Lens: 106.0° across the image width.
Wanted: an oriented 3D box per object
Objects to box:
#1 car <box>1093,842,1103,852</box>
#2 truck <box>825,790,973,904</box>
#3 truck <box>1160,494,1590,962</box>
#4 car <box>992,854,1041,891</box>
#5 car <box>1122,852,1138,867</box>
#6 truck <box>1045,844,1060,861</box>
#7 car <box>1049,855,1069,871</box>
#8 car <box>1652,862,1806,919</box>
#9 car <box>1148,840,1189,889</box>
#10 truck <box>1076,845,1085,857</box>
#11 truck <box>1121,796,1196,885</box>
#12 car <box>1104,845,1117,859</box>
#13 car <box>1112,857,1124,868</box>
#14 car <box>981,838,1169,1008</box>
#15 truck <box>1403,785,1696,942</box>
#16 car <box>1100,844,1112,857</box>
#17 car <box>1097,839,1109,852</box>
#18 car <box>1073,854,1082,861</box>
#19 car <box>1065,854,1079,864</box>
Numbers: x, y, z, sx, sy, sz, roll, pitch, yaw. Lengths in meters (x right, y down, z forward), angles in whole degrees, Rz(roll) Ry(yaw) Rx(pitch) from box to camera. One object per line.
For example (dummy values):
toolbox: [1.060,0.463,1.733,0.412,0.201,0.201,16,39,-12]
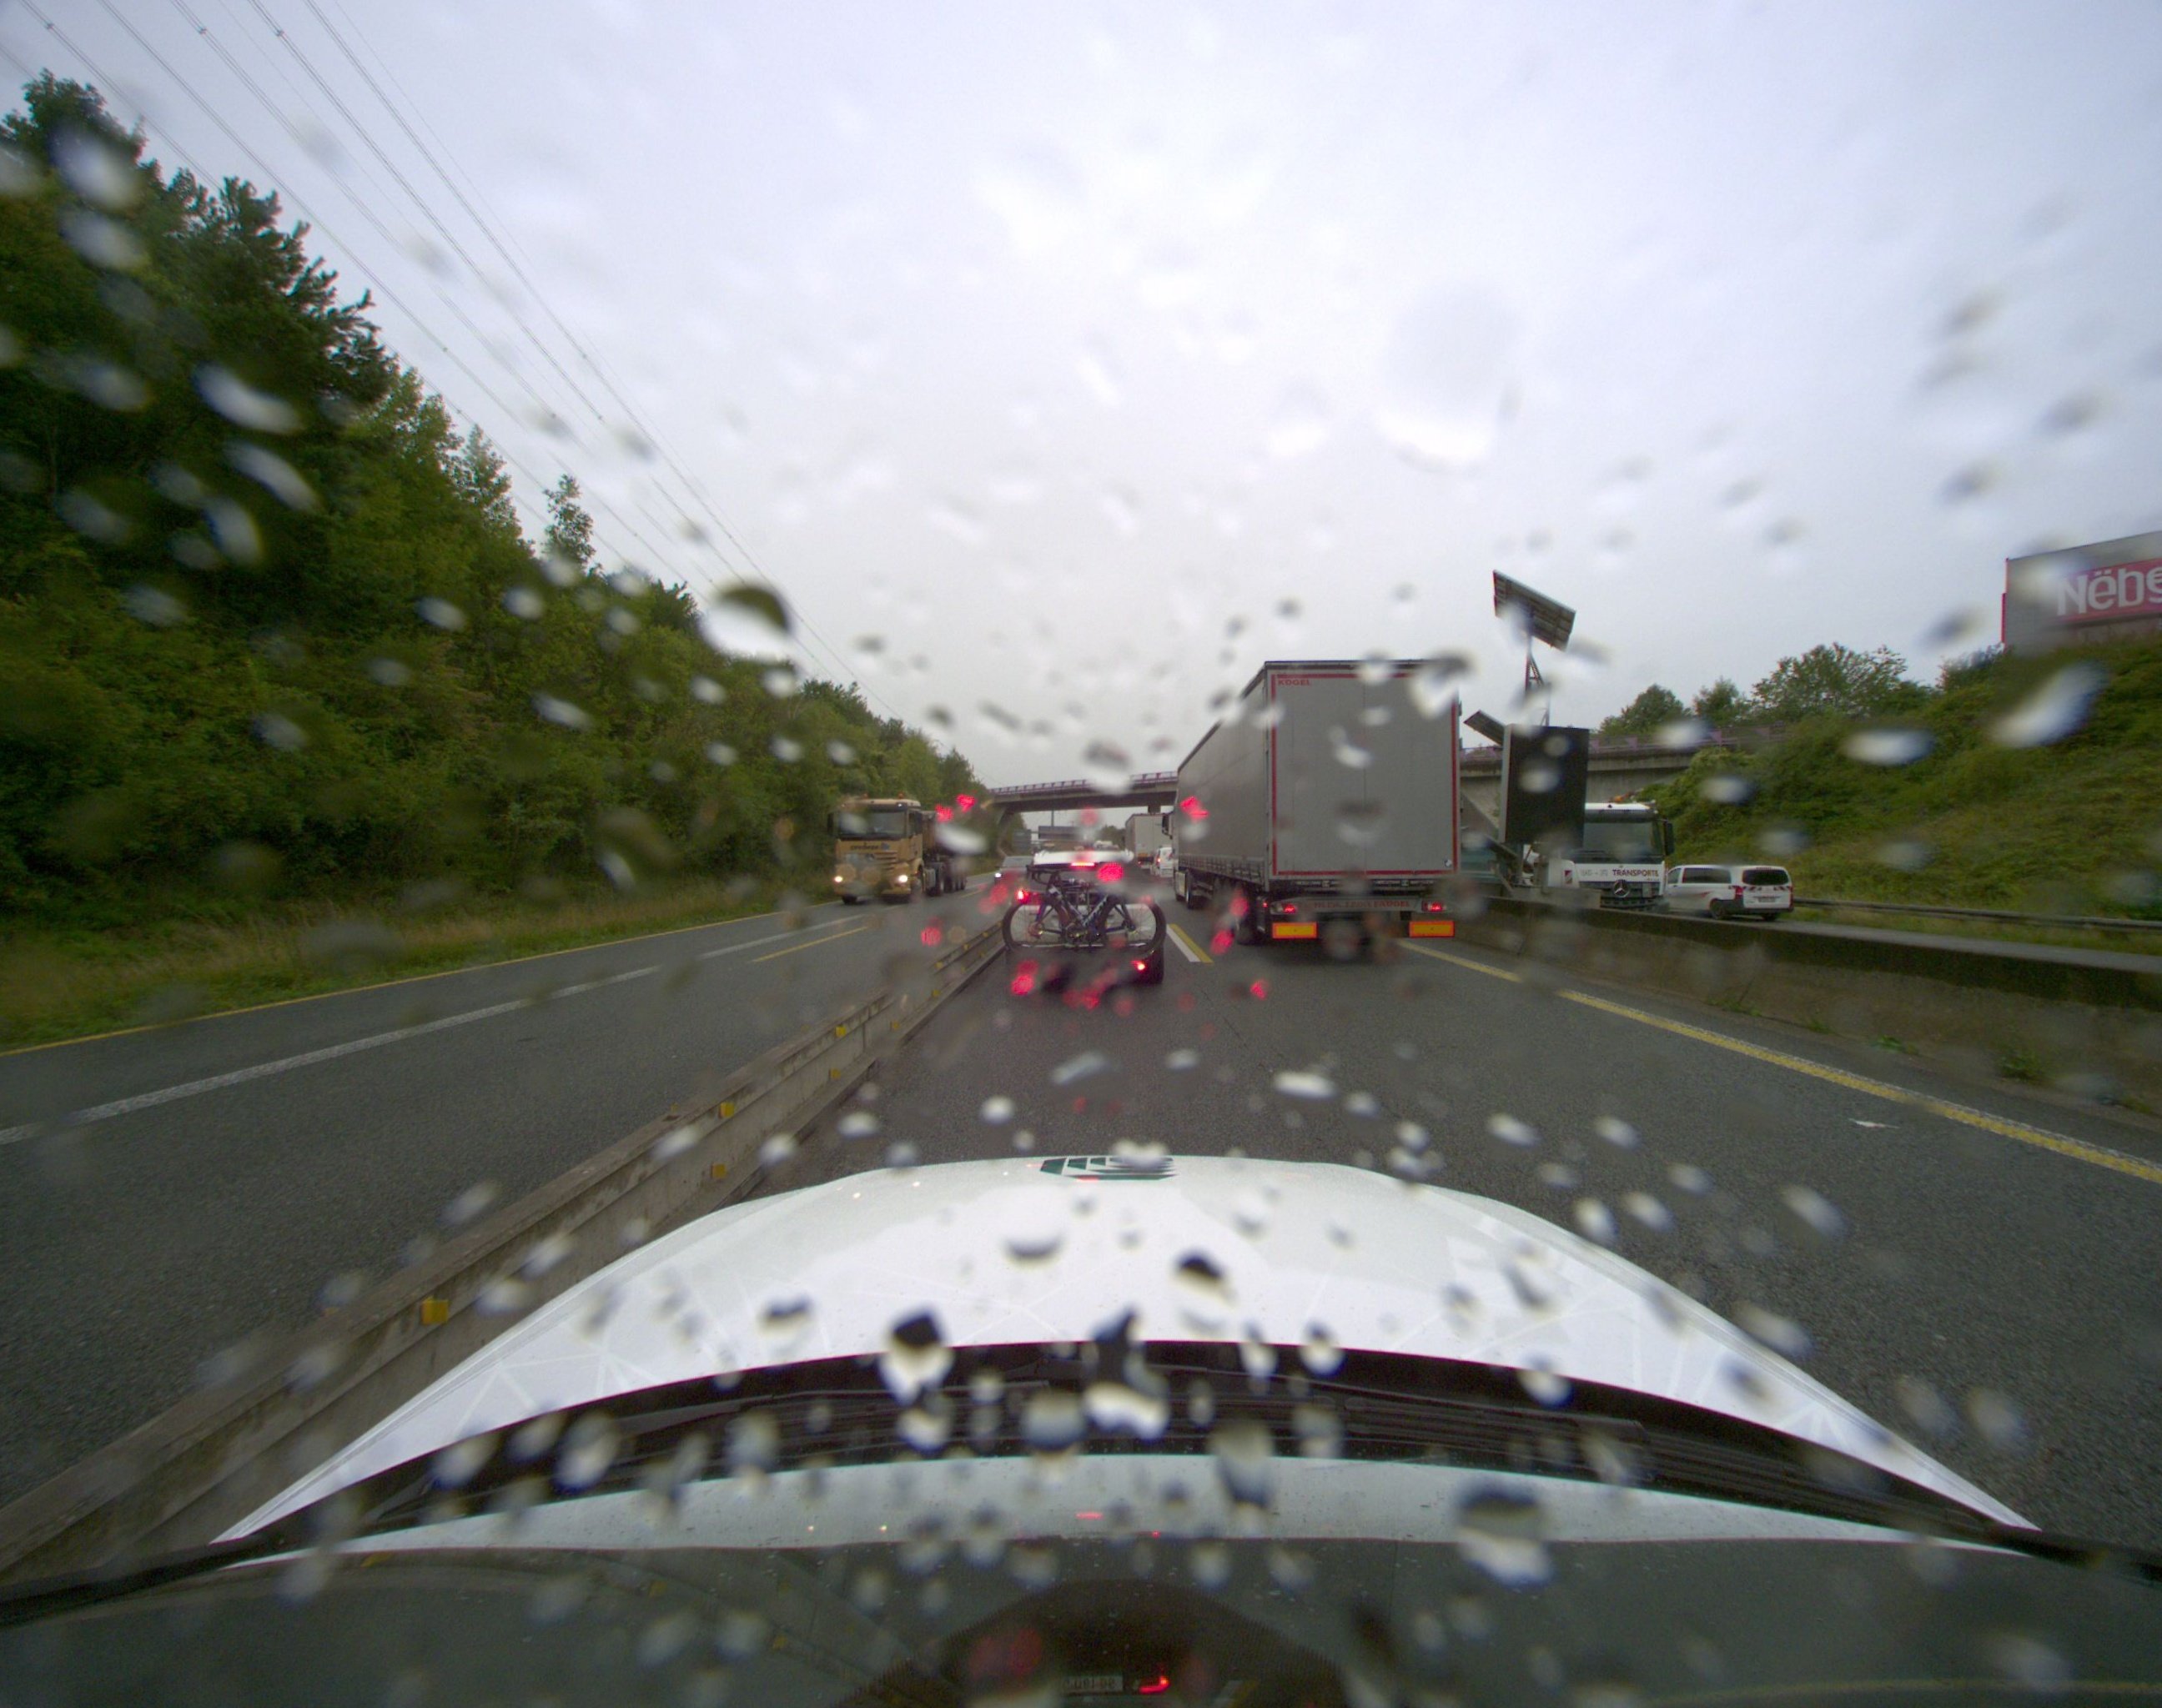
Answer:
car: [3.461,-1.403,166.633,1.986,2.126,4.529,-1,0,2]
truck: [-6.214,-0.182,30.269,2.526,3.352,12.052,-1,0,1]
truck: [4.554,-1.488,20.129,3.964,5.673,20.385,-1,0,2]
car: [-2.620,0.735,33.928,1.680,1.409,3.930,-1,0,0]
car: [5.208,0.557,86.634,1.632,1.497,3.668,-1,0,2]
truck: [-6.633,-0.294,191.072,2.671,3.656,12.317,-1,0,2]
car: [-2.192,0.874,81.365,1.804,1.559,3.990,-1,0,1]
car: [22.718,1.218,28.851,1.934,1.829,4.732,-1,0,4]
car: [4.135,0.483,39.024,1.663,2.180,4.538,-1,0,3]
truck: [-0.131,-0.906,249.156,2.526,3.352,12.052,-1,0,1]
truck: [5.544,-0.800,62.455,4.723,5.673,20.392,-1,0,3]
car: [4.646,-0.291,126.342,1.986,2.014,4.002,-1,0,2]
car: [5.171,1.194,113.276,1.632,1.497,3.668,-1,0,2]
car: [0.068,0.683,10.189,1.802,1.637,4.639,-1,0,3]
truck: [11.211,0.224,20.936,2.511,3.131,9.122,-1,0,2]
car: [4.245,-0.575,137.729,1.986,2.014,4.002,-1,0,2]
car: [4.078,-1.503,150.185,2.230,2.307,4.574,-1,0,2]
car: [-0.631,0.660,153.580,1.680,1.409,3.930,-1,0,0]
car: [-1.282,0.694,118.717,1.804,1.488,4.397,-1,0,1]
